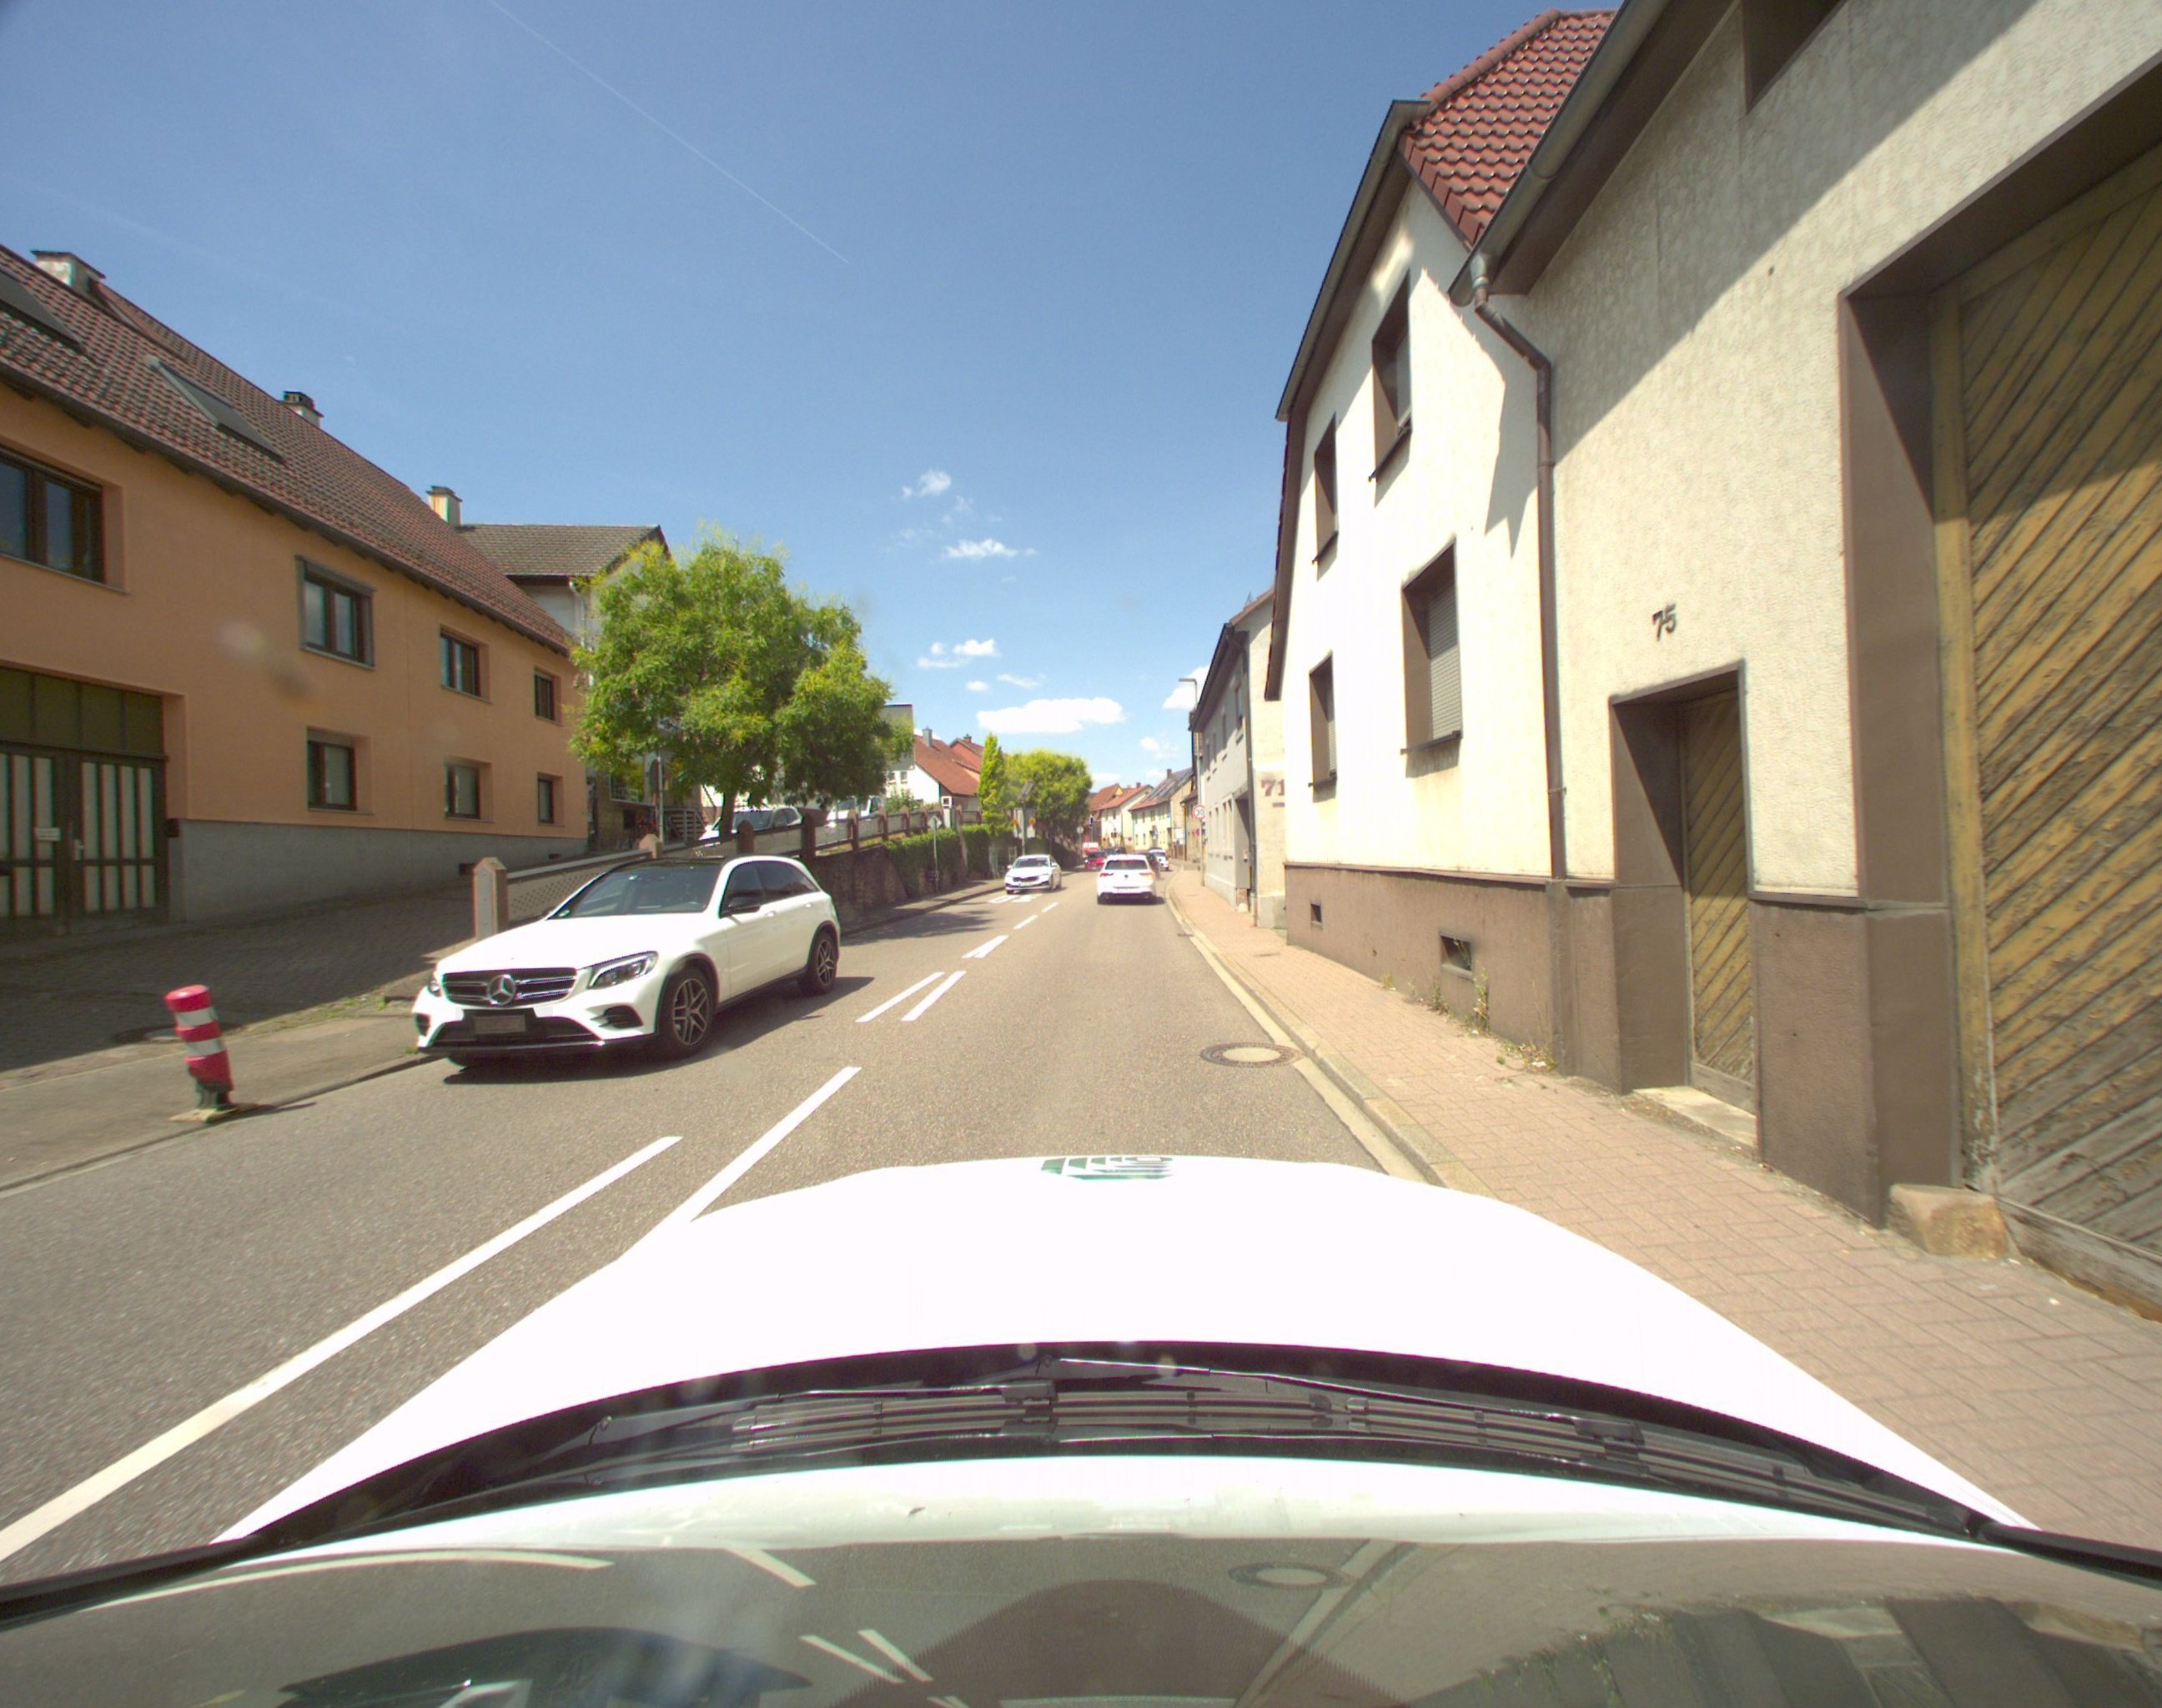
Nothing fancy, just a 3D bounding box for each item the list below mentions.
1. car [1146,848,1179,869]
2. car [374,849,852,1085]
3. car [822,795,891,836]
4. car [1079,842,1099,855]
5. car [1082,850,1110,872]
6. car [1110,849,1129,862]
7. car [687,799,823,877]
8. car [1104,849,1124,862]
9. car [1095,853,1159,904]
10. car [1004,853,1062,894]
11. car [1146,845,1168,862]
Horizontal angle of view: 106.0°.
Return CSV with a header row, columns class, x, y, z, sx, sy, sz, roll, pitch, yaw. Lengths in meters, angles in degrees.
class,x,y,z,sx,sy,sz,roll,pitch,yaw
car,5.867,0.287,58.469,1.795,1.467,4.015,0,0,14
car,-3.909,0.787,7.921,1.835,1.580,4.449,-3,0,3
car,-8.732,-1.563,31.961,1.571,1.361,3.857,-2,6,0
car,1.124,-0.797,118.480,1.780,1.765,3.975,-2,0,-18
car,1.142,0.517,60.056,1.609,1.444,3.808,-3,0,6
car,4.880,0.181,104.406,1.774,1.538,3.990,-2,0,-7
car,-7.812,-0.469,19.934,1.688,1.542,3.857,-2,6,0
car,3.676,0.149,91.035,1.784,1.377,4.126,-2,0,8
car,1.379,0.694,25.230,1.801,1.467,4.002,0,0,2
car,-1.845,0.718,32.471,1.806,1.446,4.433,-3,0,2
car,7.142,-0.051,76.427,1.769,1.538,4.002,-2,0,2
